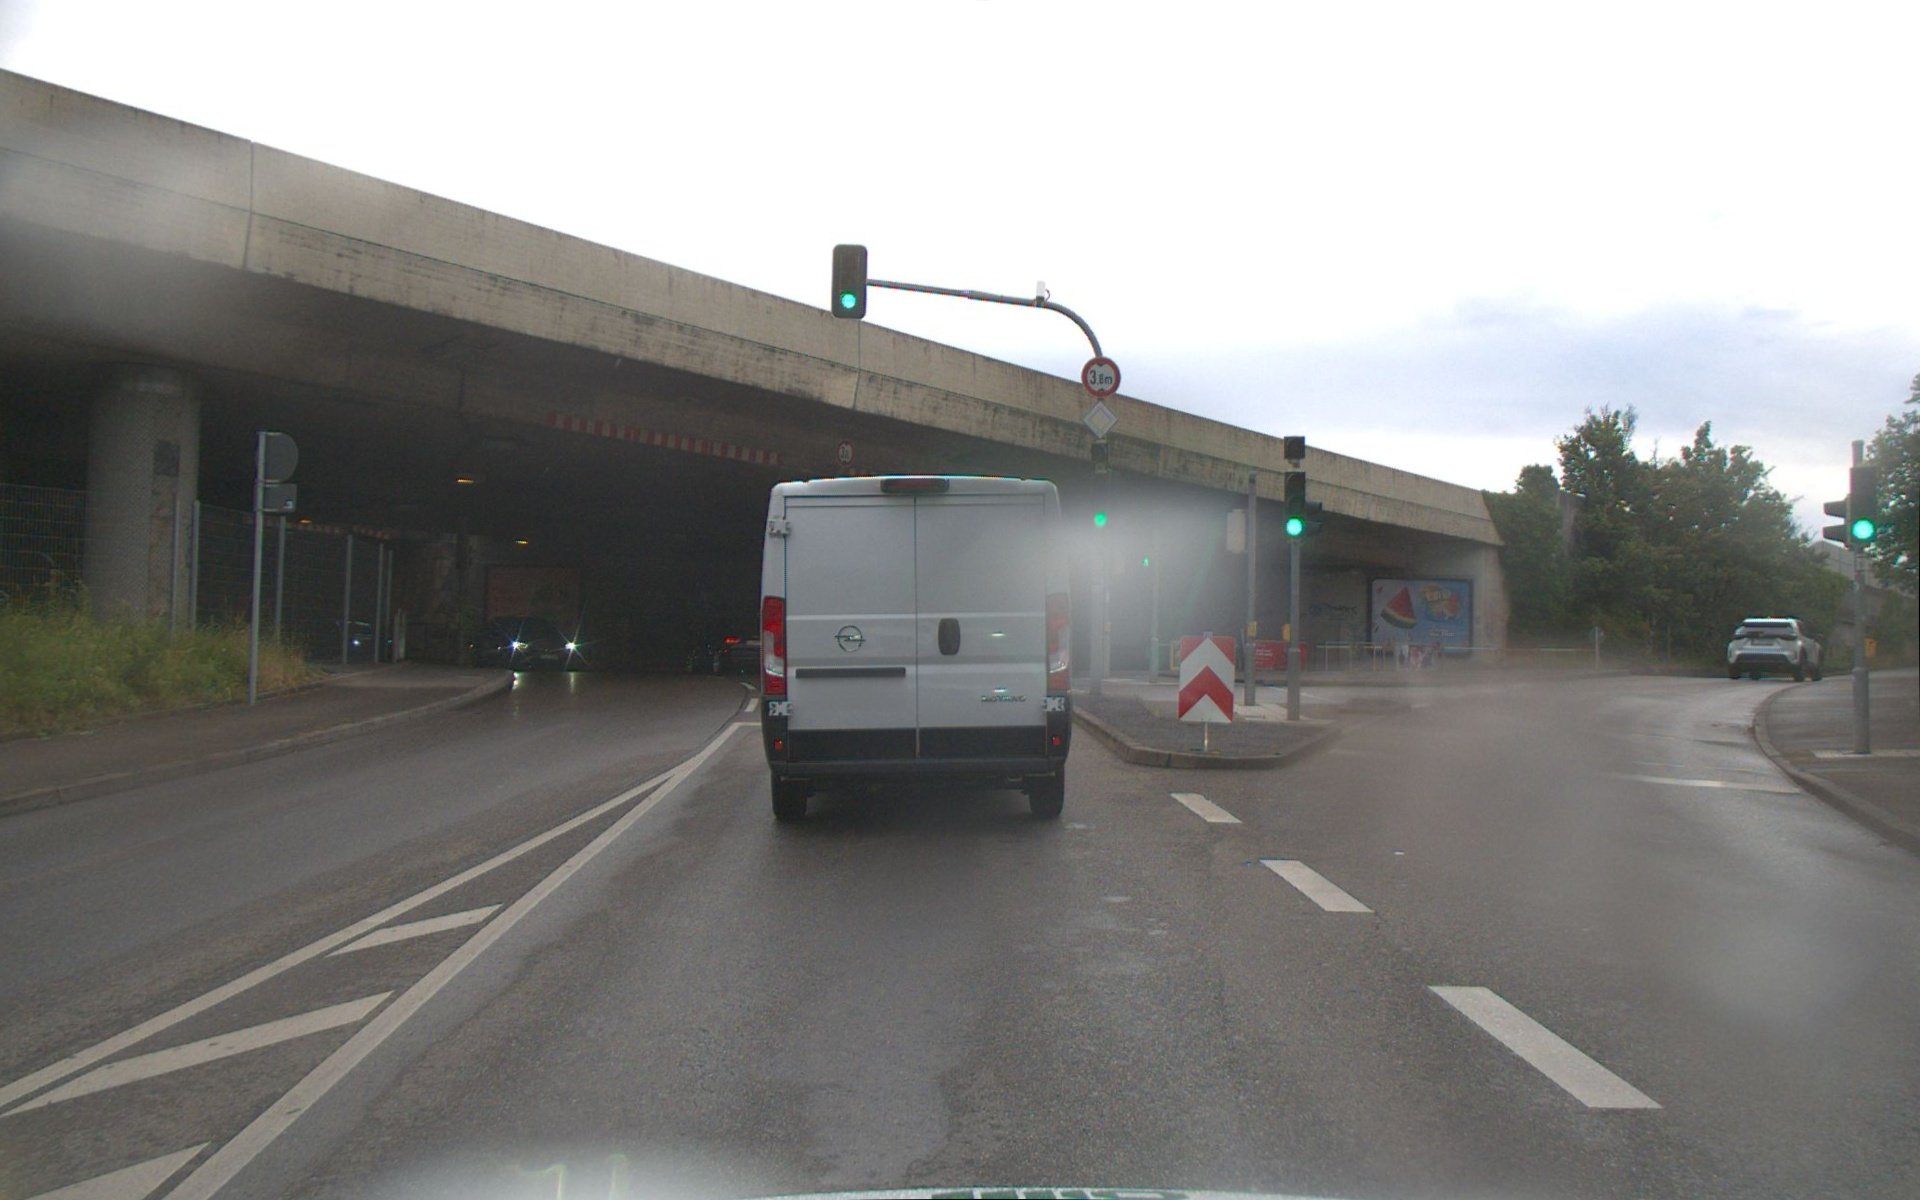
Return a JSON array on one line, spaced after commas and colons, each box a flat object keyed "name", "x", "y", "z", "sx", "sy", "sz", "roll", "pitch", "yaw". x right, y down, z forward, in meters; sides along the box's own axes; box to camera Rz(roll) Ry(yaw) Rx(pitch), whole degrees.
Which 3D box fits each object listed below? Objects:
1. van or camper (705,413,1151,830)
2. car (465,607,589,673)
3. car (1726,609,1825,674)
[{"name": "van or camper", "x": -0.255, "y": 0.142, "z": 12.444, "sx": 2.644, "sy": 2.459, "sz": 4.901, "roll": 1, "pitch": 0, "yaw": -2}, {"name": "car", "x": -11.611, "y": 1.052, "z": 44.159, "sx": 1.974, "sy": 1.557, "sz": 4.452, "roll": 2, "pitch": 0, "yaw": -31}, {"name": "car", "x": 21.022, "y": 1.041, "z": 42.567, "sx": 1.842, "sy": 1.557, "sz": 3.988, "roll": 1, "pitch": 0, "yaw": 33}]
